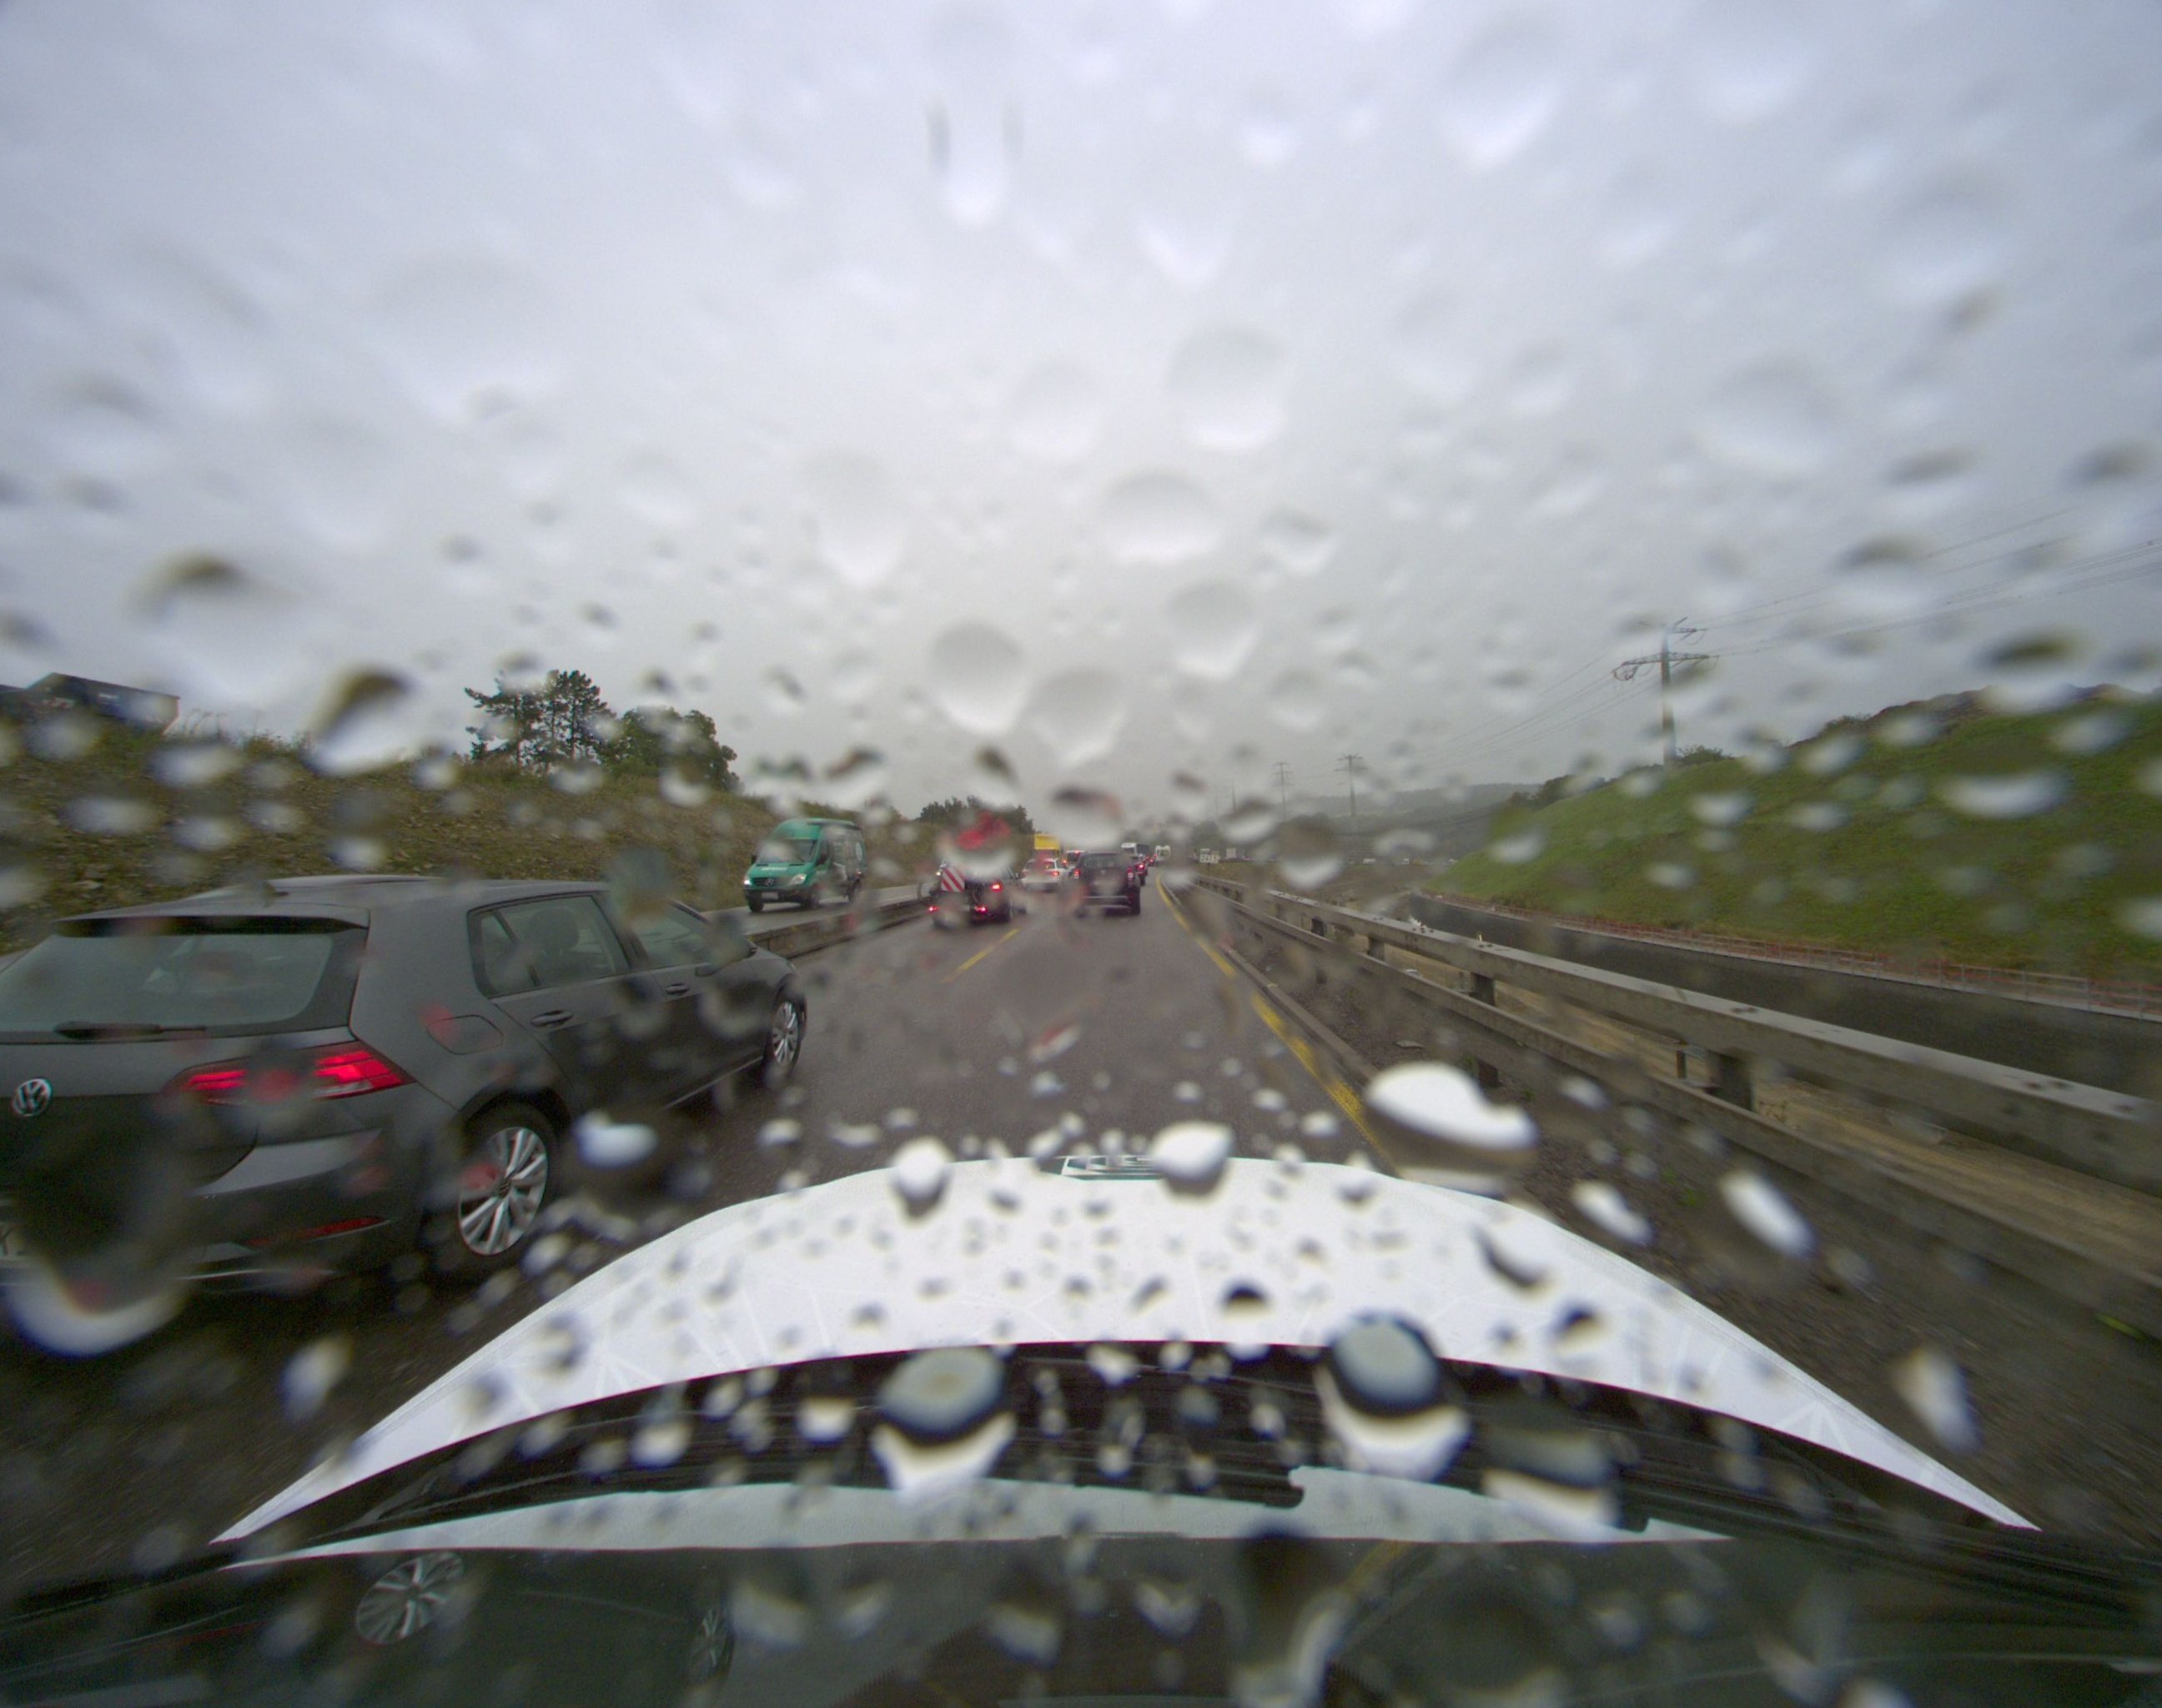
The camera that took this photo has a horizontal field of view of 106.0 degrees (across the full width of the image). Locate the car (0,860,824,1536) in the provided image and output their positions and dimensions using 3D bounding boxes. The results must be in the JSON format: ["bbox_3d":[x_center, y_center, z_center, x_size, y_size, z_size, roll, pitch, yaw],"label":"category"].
[{"bbox_3d":[-2.855,0.834,4.066,1.608,1.506,4.369,-2,0,1],"label":"car"}]

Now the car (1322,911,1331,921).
[{"bbox_3d":[61.971,15.678,205.800,1.977,2.013,4.019,0,0,18],"label":"car"}]

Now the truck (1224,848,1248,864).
[{"bbox_3d":[42.198,0.466,221.267,4.681,4.150,15.750,0,0,16],"label":"truck"}]

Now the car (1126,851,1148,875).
[{"bbox_3d":[4.050,0.618,59.167,1.524,1.640,4.016,0,0,3],"label":"car"}]

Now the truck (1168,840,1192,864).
[{"bbox_3d":[16.282,-0.309,133.406,3.180,3.761,8.535,0,0,11],"label":"truck"}]

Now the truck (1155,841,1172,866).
[{"bbox_3d":[10.804,-0.100,106.593,2.138,3.166,6.470,0,0,6],"label":"truck"}]

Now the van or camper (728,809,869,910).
[{"bbox_3d":[-8.707,0.155,25.831,2.091,2.817,5.947,0,0,3],"label":"van or camper"}]

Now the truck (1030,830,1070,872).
[{"bbox_3d":[-3.051,-0.319,83.027,2.754,3.996,8.437,-1,0,6],"label":"truck"}]

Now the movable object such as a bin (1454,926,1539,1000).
[{"bbox_3d":[25.468,6.599,50.103,3.201,3.867,4.125,1,1,3],"label":"movable object such as a bin"}]

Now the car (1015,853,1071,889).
[{"bbox_3d":[-1.571,0.697,35.498,1.859,1.460,4.554,0,0,4],"label":"car"}]

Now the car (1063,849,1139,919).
[{"bbox_3d":[0.612,0.717,21.399,1.796,1.646,3.781,-1,0,4],"label":"car"}]

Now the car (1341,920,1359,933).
[{"bbox_3d":[50.390,13.607,152.839,2.354,2.013,4.006,0,0,5],"label":"car"}]

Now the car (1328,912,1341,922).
[{"bbox_3d":[53.129,13.212,170.533,1.982,1.816,4.008,-1,0,8],"label":"car"}]

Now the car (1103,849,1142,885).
[{"bbox_3d":[2.119,0.634,40.741,1.859,1.708,4.005,0,0,4],"label":"car"}]

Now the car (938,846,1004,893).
[{"bbox_3d":[-4.745,0.632,35.891,1.993,1.887,5.277,0,0,2],"label":"car"}]

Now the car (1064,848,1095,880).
[{"bbox_3d":[-0.049,0.584,50.759,1.652,1.880,4.025,0,0,4],"label":"car"}]

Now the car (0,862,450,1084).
[{"bbox_3d":[-8.483,0.870,7.728,1.707,1.536,4.049,0,0,2],"label":"car"}]

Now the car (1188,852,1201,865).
[{"bbox_3d":[16.840,0.639,120.828,1.765,1.916,4.010,0,0,9],"label":"car"}]

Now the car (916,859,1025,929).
[{"bbox_3d":[-2.511,0.869,19.371,1.821,1.476,3.780,-1,0,4],"label":"car"}]
